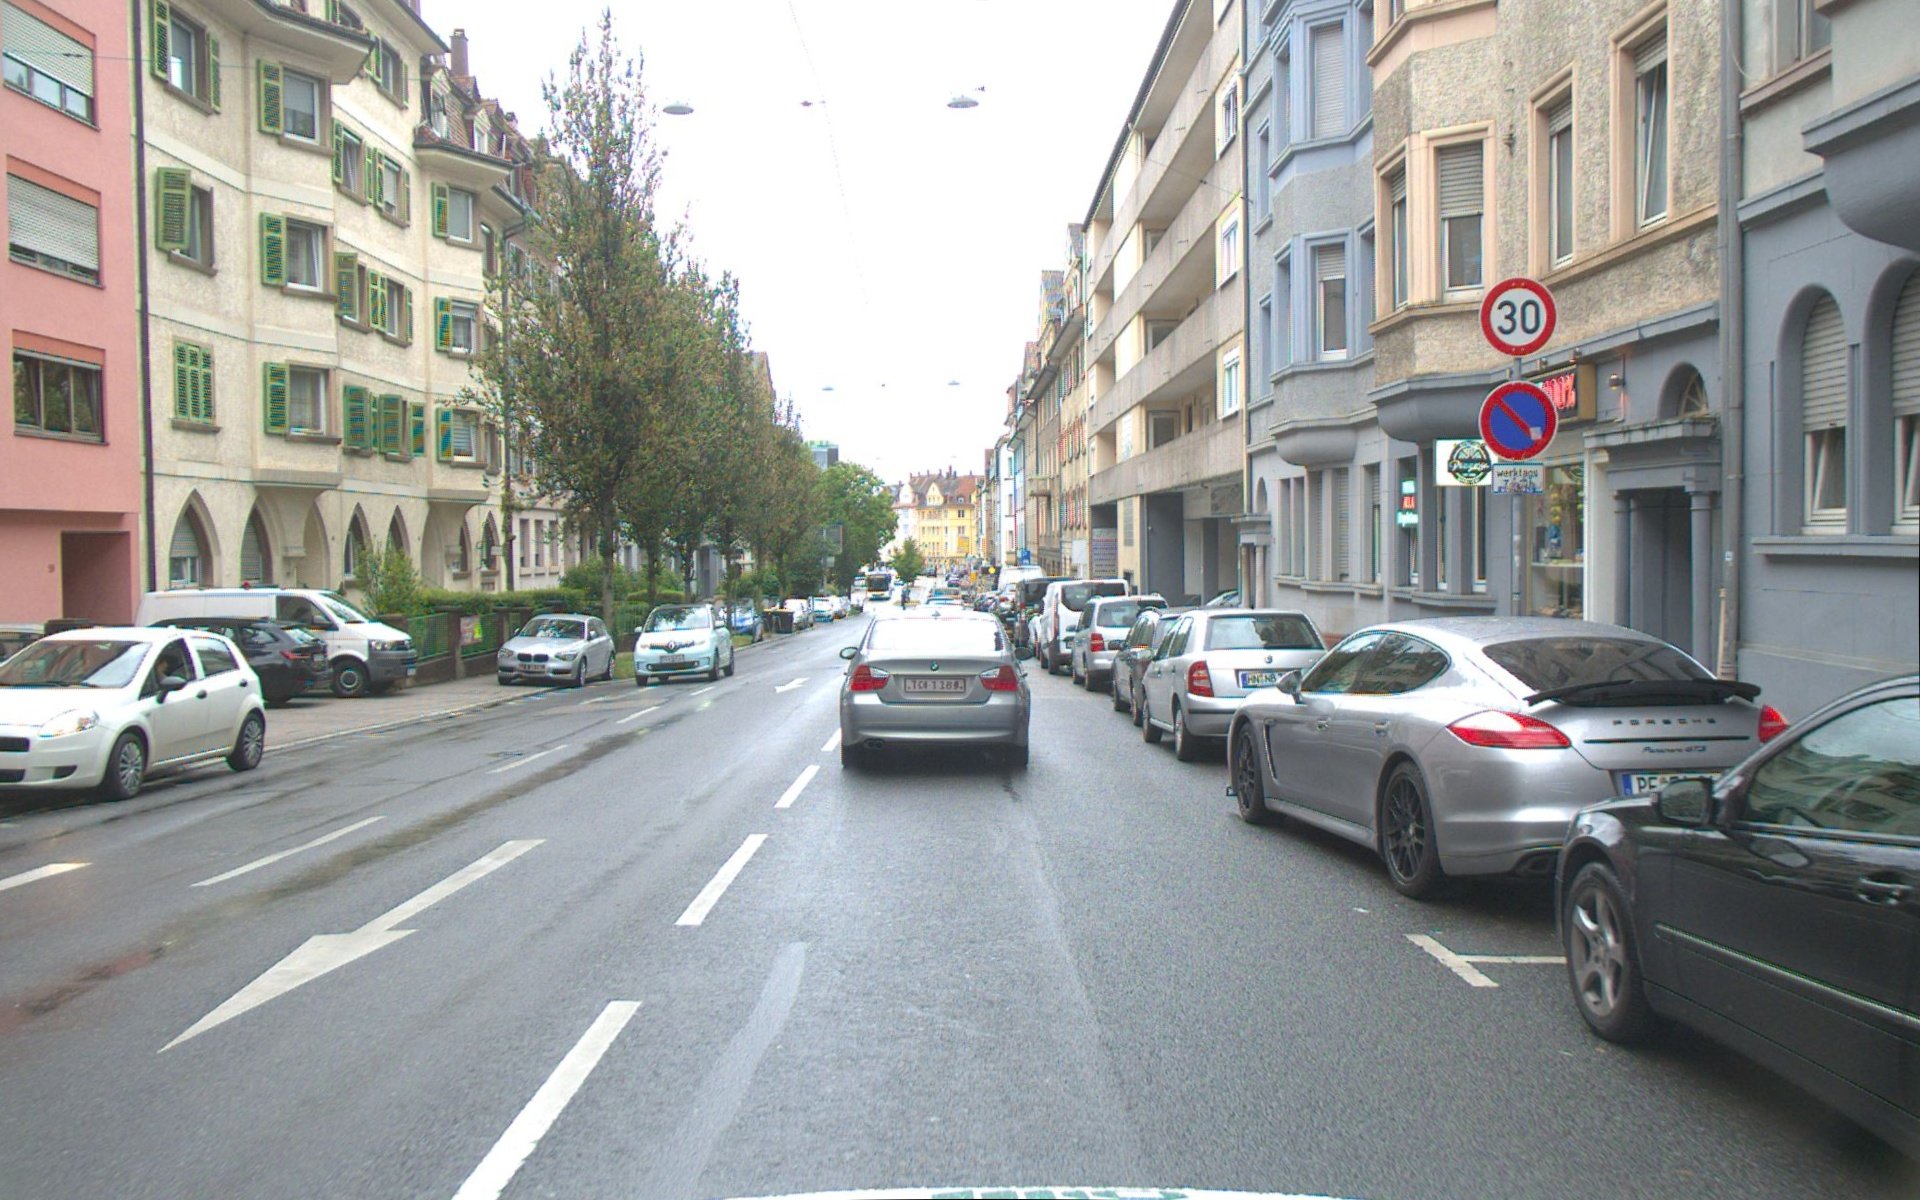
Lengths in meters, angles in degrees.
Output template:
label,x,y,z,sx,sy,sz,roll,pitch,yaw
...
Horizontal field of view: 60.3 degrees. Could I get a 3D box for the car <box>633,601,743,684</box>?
label,x,y,z,sx,sy,sz,roll,pitch,yaw
car,-5.576,0.836,34.310,1.603,1.534,3.754,-4,0,-1

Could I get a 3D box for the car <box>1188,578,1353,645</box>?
label,x,y,z,sx,sy,sz,roll,pitch,yaw
car,8.246,0.301,43.931,4.195,1.669,1.668,-1,2,12

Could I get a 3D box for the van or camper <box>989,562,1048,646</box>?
label,x,y,z,sx,sy,sz,roll,pitch,yaw
van or camper,2.269,0.126,62.684,1.991,2.919,6.887,2,0,3

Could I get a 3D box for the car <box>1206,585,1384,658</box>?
label,x,y,z,sx,sy,sz,roll,pitch,yaw
car,8.244,0.512,40.828,4.195,1.669,1.668,-1,2,12

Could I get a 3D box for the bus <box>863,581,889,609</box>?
label,x,y,z,sx,sy,sz,roll,pitch,yaw
bus,-9.736,-0.548,193.154,2.614,3.077,7.669,-2,0,-1

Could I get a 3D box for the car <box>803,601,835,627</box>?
label,x,y,z,sx,sy,sz,roll,pitch,yaw
car,-9.027,0.882,105.894,1.656,1.550,3.736,-3,0,0

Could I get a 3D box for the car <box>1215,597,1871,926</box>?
label,x,y,z,sx,sy,sz,roll,pitch,yaw
car,3.083,0.751,10.003,1.839,1.493,4.767,1,0,-7

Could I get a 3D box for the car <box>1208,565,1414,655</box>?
label,x,y,z,sx,sy,sz,roll,pitch,yaw
car,7.692,0.219,36.149,4.234,1.836,2.008,-1,2,17

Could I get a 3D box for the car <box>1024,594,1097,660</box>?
label,x,y,z,sx,sy,sz,roll,pitch,yaw
car,2.749,0.714,45.967,1.691,1.699,4.287,-2,0,-1

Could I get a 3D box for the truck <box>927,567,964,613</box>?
label,x,y,z,sx,sy,sz,roll,pitch,yaw
truck,-0.849,-0.522,92.083,1.991,2.455,4.825,1,-1,-1

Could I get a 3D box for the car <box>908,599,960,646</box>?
label,x,y,z,sx,sy,sz,roll,pitch,yaw
car,-0.886,0.747,55.627,1.663,1.509,3.792,1,0,-1

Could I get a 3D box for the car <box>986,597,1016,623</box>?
label,x,y,z,sx,sy,sz,roll,pitch,yaw
car,2.477,0.616,100.788,1.663,1.509,3.974,1,0,-1

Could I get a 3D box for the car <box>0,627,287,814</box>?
label,x,y,z,sx,sy,sz,roll,pitch,yaw
car,-8.016,1.037,15.688,1.588,1.471,4.005,-1,0,0

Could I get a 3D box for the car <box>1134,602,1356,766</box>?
label,x,y,z,sx,sy,sz,roll,pitch,yaw
car,2.848,0.778,17.300,1.578,1.500,4.015,0,0,-1

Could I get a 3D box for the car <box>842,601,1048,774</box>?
label,x,y,z,sx,sy,sz,roll,pitch,yaw
car,-0.229,0.757,15.878,1.734,1.453,3.738,1,0,-3

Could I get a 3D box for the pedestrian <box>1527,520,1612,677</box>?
label,x,y,z,sx,sy,sz,roll,pitch,yaw
pedestrian,6.565,-0.019,17.825,0.479,1.648,0.660,-2,0,-31

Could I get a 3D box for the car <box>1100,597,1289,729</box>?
label,x,y,z,sx,sy,sz,roll,pitch,yaw
car,3.089,0.773,22.739,1.861,1.504,4.798,-4,0,0

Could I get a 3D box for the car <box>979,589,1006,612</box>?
label,x,y,z,sx,sy,sz,roll,pitch,yaw
car,2.155,0.055,110.490,1.663,1.509,3.974,1,0,-1

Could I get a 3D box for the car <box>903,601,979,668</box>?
label,x,y,z,sx,sy,sz,roll,pitch,yaw
car,-0.406,0.764,38.297,1.647,1.453,3.741,1,0,0

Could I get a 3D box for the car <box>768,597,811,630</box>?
label,x,y,z,sx,sy,sz,roll,pitch,yaw
car,-8.801,0.682,85.615,1.790,1.550,3.736,-3,0,0

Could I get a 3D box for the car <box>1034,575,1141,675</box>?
label,x,y,z,sx,sy,sz,roll,pitch,yaw
car,2.811,0.531,37.444,1.941,2.042,4.624,-2,0,-1

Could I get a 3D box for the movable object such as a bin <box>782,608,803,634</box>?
label,x,y,z,sx,sy,sz,roll,pitch,yaw
movable object such as a bin,-7.876,1.000,77.875,0.916,1.189,0.909,0,0,-1

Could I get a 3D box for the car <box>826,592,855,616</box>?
label,x,y,z,sx,sy,sz,roll,pitch,yaw
car,-8.378,0.269,116.236,1.656,1.550,3.736,-3,0,0

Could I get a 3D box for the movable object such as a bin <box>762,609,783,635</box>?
label,x,y,z,sx,sy,sz,roll,pitch,yaw
movable object such as a bin,-8.821,1.020,77.865,0.883,1.189,0.895,0,0,-1

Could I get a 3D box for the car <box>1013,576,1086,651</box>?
label,x,y,z,sx,sy,sz,roll,pitch,yaw
car,2.768,0.410,52.086,1.941,2.203,4.749,-2,0,-1

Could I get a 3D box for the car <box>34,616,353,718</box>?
label,x,y,z,sx,sy,sz,roll,pitch,yaw
car,-12.480,1.065,27.142,4.343,1.477,1.791,-2,0,-3

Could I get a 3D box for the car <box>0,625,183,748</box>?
label,x,y,z,sx,sy,sz,roll,pitch,yaw
car,-12.582,1.146,21.823,3.809,1.483,1.789,-2,0,-8

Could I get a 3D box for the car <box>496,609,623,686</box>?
label,x,y,z,sx,sy,sz,roll,pitch,yaw
car,-8.491,0.980,35.387,1.691,1.510,3.989,1,-1,0

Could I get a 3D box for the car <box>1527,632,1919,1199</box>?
label,x,y,z,sx,sy,sz,roll,pitch,yaw
car,3.074,0.826,4.377,1.643,1.399,4.275,0,0,-1

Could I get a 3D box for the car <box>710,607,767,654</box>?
label,x,y,z,sx,sy,sz,roll,pitch,yaw
car,-8.530,1.147,63.970,1.731,1.621,3.999,-3,0,-2

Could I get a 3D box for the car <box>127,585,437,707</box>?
label,x,y,z,sx,sy,sz,roll,pitch,yaw
car,-12.242,0.804,30.107,4.731,2.008,2.047,-2,0,-1

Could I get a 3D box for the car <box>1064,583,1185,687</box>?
label,x,y,z,sx,sy,sz,roll,pitch,yaw
car,2.974,0.595,30.616,1.691,1.699,4.287,-3,0,-1
